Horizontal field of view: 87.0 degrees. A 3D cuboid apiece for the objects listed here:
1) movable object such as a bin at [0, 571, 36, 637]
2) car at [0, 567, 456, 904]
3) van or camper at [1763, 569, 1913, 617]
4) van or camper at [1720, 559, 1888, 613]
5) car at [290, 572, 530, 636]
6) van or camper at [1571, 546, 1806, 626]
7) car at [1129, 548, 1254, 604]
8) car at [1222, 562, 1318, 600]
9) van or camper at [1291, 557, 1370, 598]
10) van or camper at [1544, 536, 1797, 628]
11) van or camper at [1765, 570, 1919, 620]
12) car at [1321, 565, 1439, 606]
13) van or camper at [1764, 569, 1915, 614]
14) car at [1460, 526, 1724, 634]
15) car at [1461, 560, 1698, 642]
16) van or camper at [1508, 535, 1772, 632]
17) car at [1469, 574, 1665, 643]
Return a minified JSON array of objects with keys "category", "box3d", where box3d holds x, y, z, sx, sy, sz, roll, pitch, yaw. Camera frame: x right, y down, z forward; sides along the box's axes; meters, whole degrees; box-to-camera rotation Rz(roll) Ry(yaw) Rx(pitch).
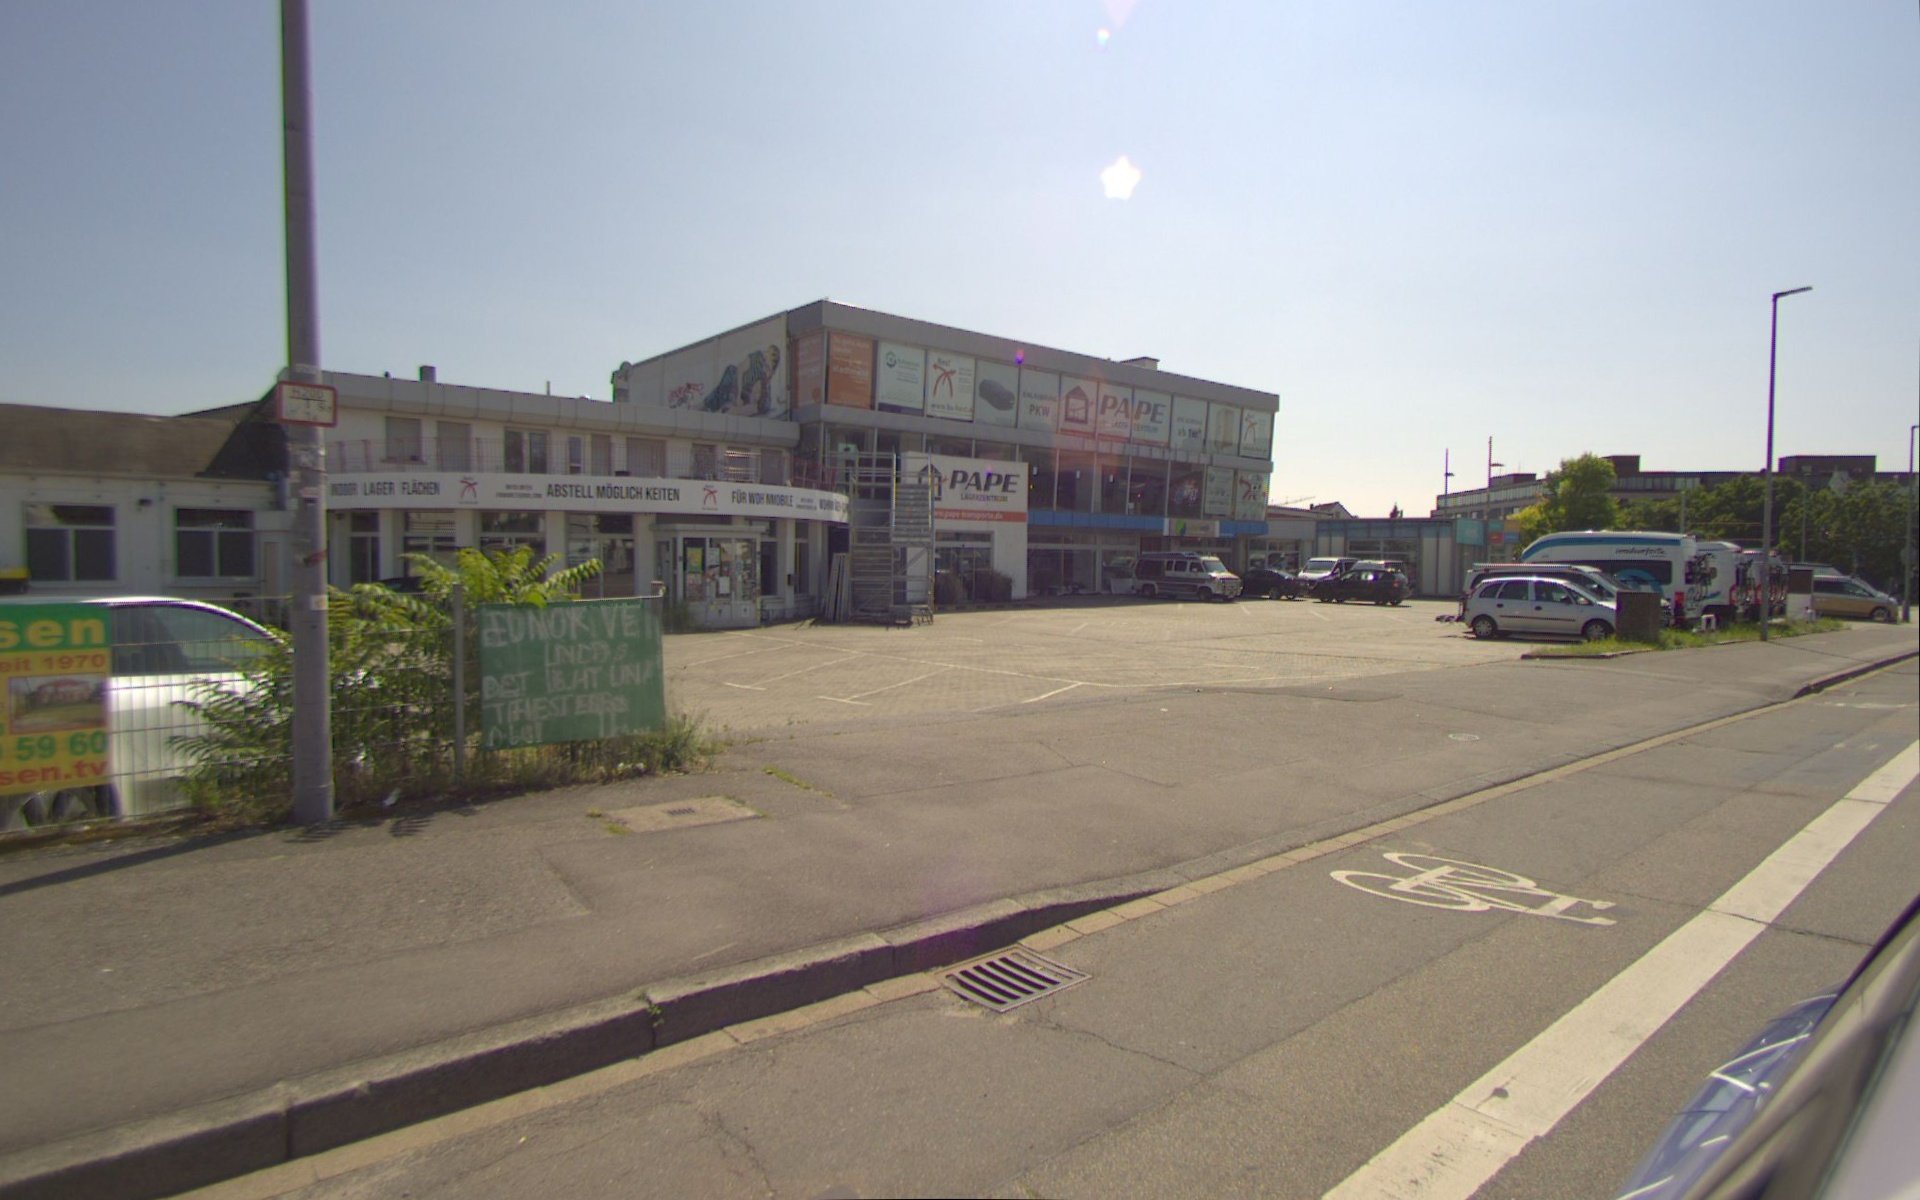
[{"category":"movable object such as a bin","box3d":[-22.235,0.073,22.985,1.571,1.474,1.796,1,1,45]},{"category":"car","box3d":[-5.666,0.706,6.660,1.986,1.641,5.046,-4,1,2]},{"category":"van or camper","box3d":[41.774,-0.364,48.304,4.919,2.070,2.030,2,2,20]},{"category":"van or camper","box3d":[44.479,-0.792,53.538,6.269,2.669,2.523,1,1,14]},{"category":"car","box3d":[-12.465,0.076,23.132,4.469,1.306,1.895,-1,0,1]},{"category":"van or camper","box3d":[25.276,-0.551,35.380,2.573,2.556,6.209,0,2,-40]},{"category":"car","box3d":[10.680,-1.143,46.992,2.285,2.449,5.308,0,2,-40]},{"category":"car","box3d":[15.385,-0.971,50.285,1.967,1.754,4.109,0,2,-44]},{"category":"van or camper","box3d":[19.644,-1.198,53.527,2.117,2.038,5.035,2,2,43]},{"category":"van or camper","box3d":[23.340,-0.645,33.520,2.665,2.750,6.362,0,2,-40]},{"category":"van or camper","box3d":[40.157,-0.262,46.033,5.072,1.985,1.975,2,3,20]},{"category":"car","box3d":[19.104,-0.693,46.180,1.967,1.699,4.542,0,2,-44]},{"category":"van or camper","box3d":[43.883,-0.463,50.658,5.070,2.102,2.439,2,1,18]},{"category":"car","box3d":[18.625,-0.645,30.178,2.279,2.905,6.241,0,2,-40]},{"category":"car","box3d":[17.076,-0.052,28.177,1.965,1.976,5.245,0,3,-41]},{"category":"van or camper","box3d":[21.179,-0.586,31.822,2.665,2.733,6.362,0,2,-40]},{"category":"car","box3d":[15.368,0.193,25.764,1.767,1.613,3.928,0,0,-41]}]
